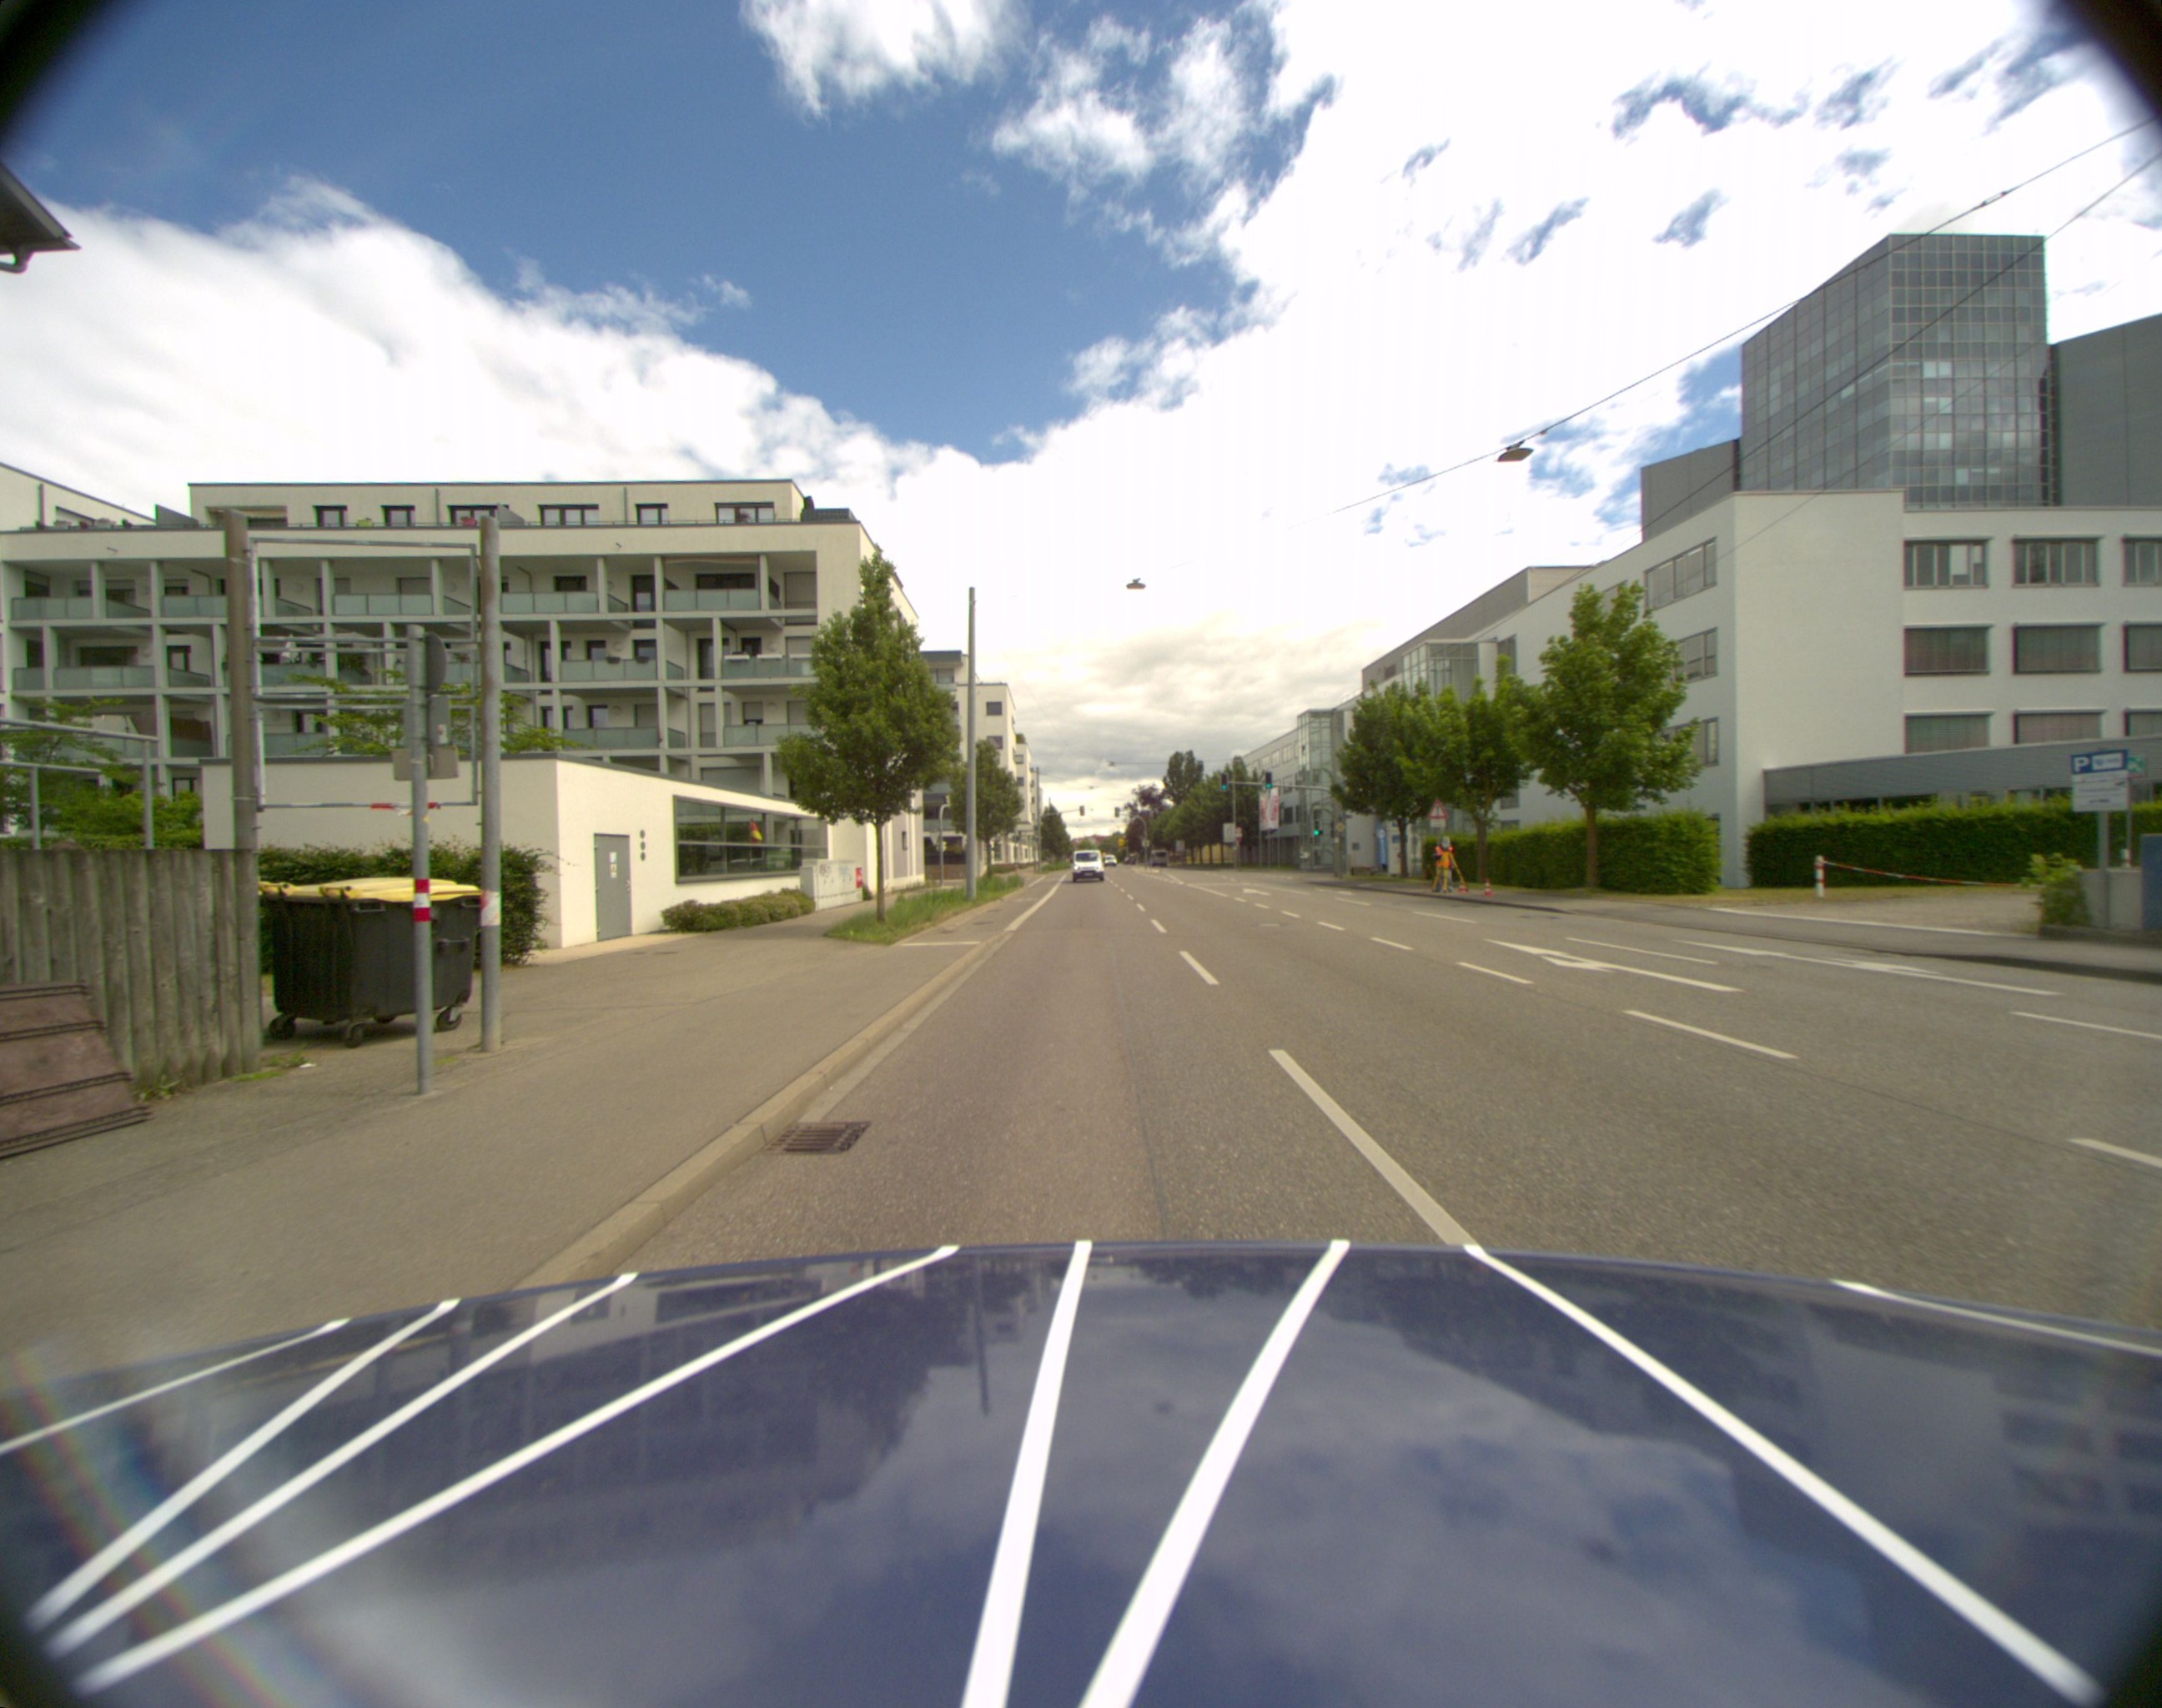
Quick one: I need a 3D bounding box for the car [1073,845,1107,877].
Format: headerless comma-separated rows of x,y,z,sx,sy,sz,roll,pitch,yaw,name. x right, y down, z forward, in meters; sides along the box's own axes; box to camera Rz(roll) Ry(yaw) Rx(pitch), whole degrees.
0.554,0.410,50.136,1.999,1.905,3.998,-2,1,-2,car

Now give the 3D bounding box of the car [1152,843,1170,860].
11.780,-0.378,111.903,2.148,2.457,6.073,0,1,1,car

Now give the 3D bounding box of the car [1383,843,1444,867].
29.045,0.034,66.466,4.823,1.858,2.087,2,3,24,car

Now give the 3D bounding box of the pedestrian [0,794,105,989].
-9.785,0.344,7.141,0.507,1.755,0.501,-3,2,17,pedestrian

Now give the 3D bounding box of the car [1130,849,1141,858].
10.795,-0.131,150.757,1.889,1.543,4.539,0,1,3,car

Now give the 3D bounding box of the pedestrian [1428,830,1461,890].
12.499,0.204,26.101,0.724,2.002,0.812,-2,2,43,pedestrian

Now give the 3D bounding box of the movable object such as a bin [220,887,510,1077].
-6.053,1.003,6.511,1.321,1.353,1.252,-1,2,16,movable object such as a bin
